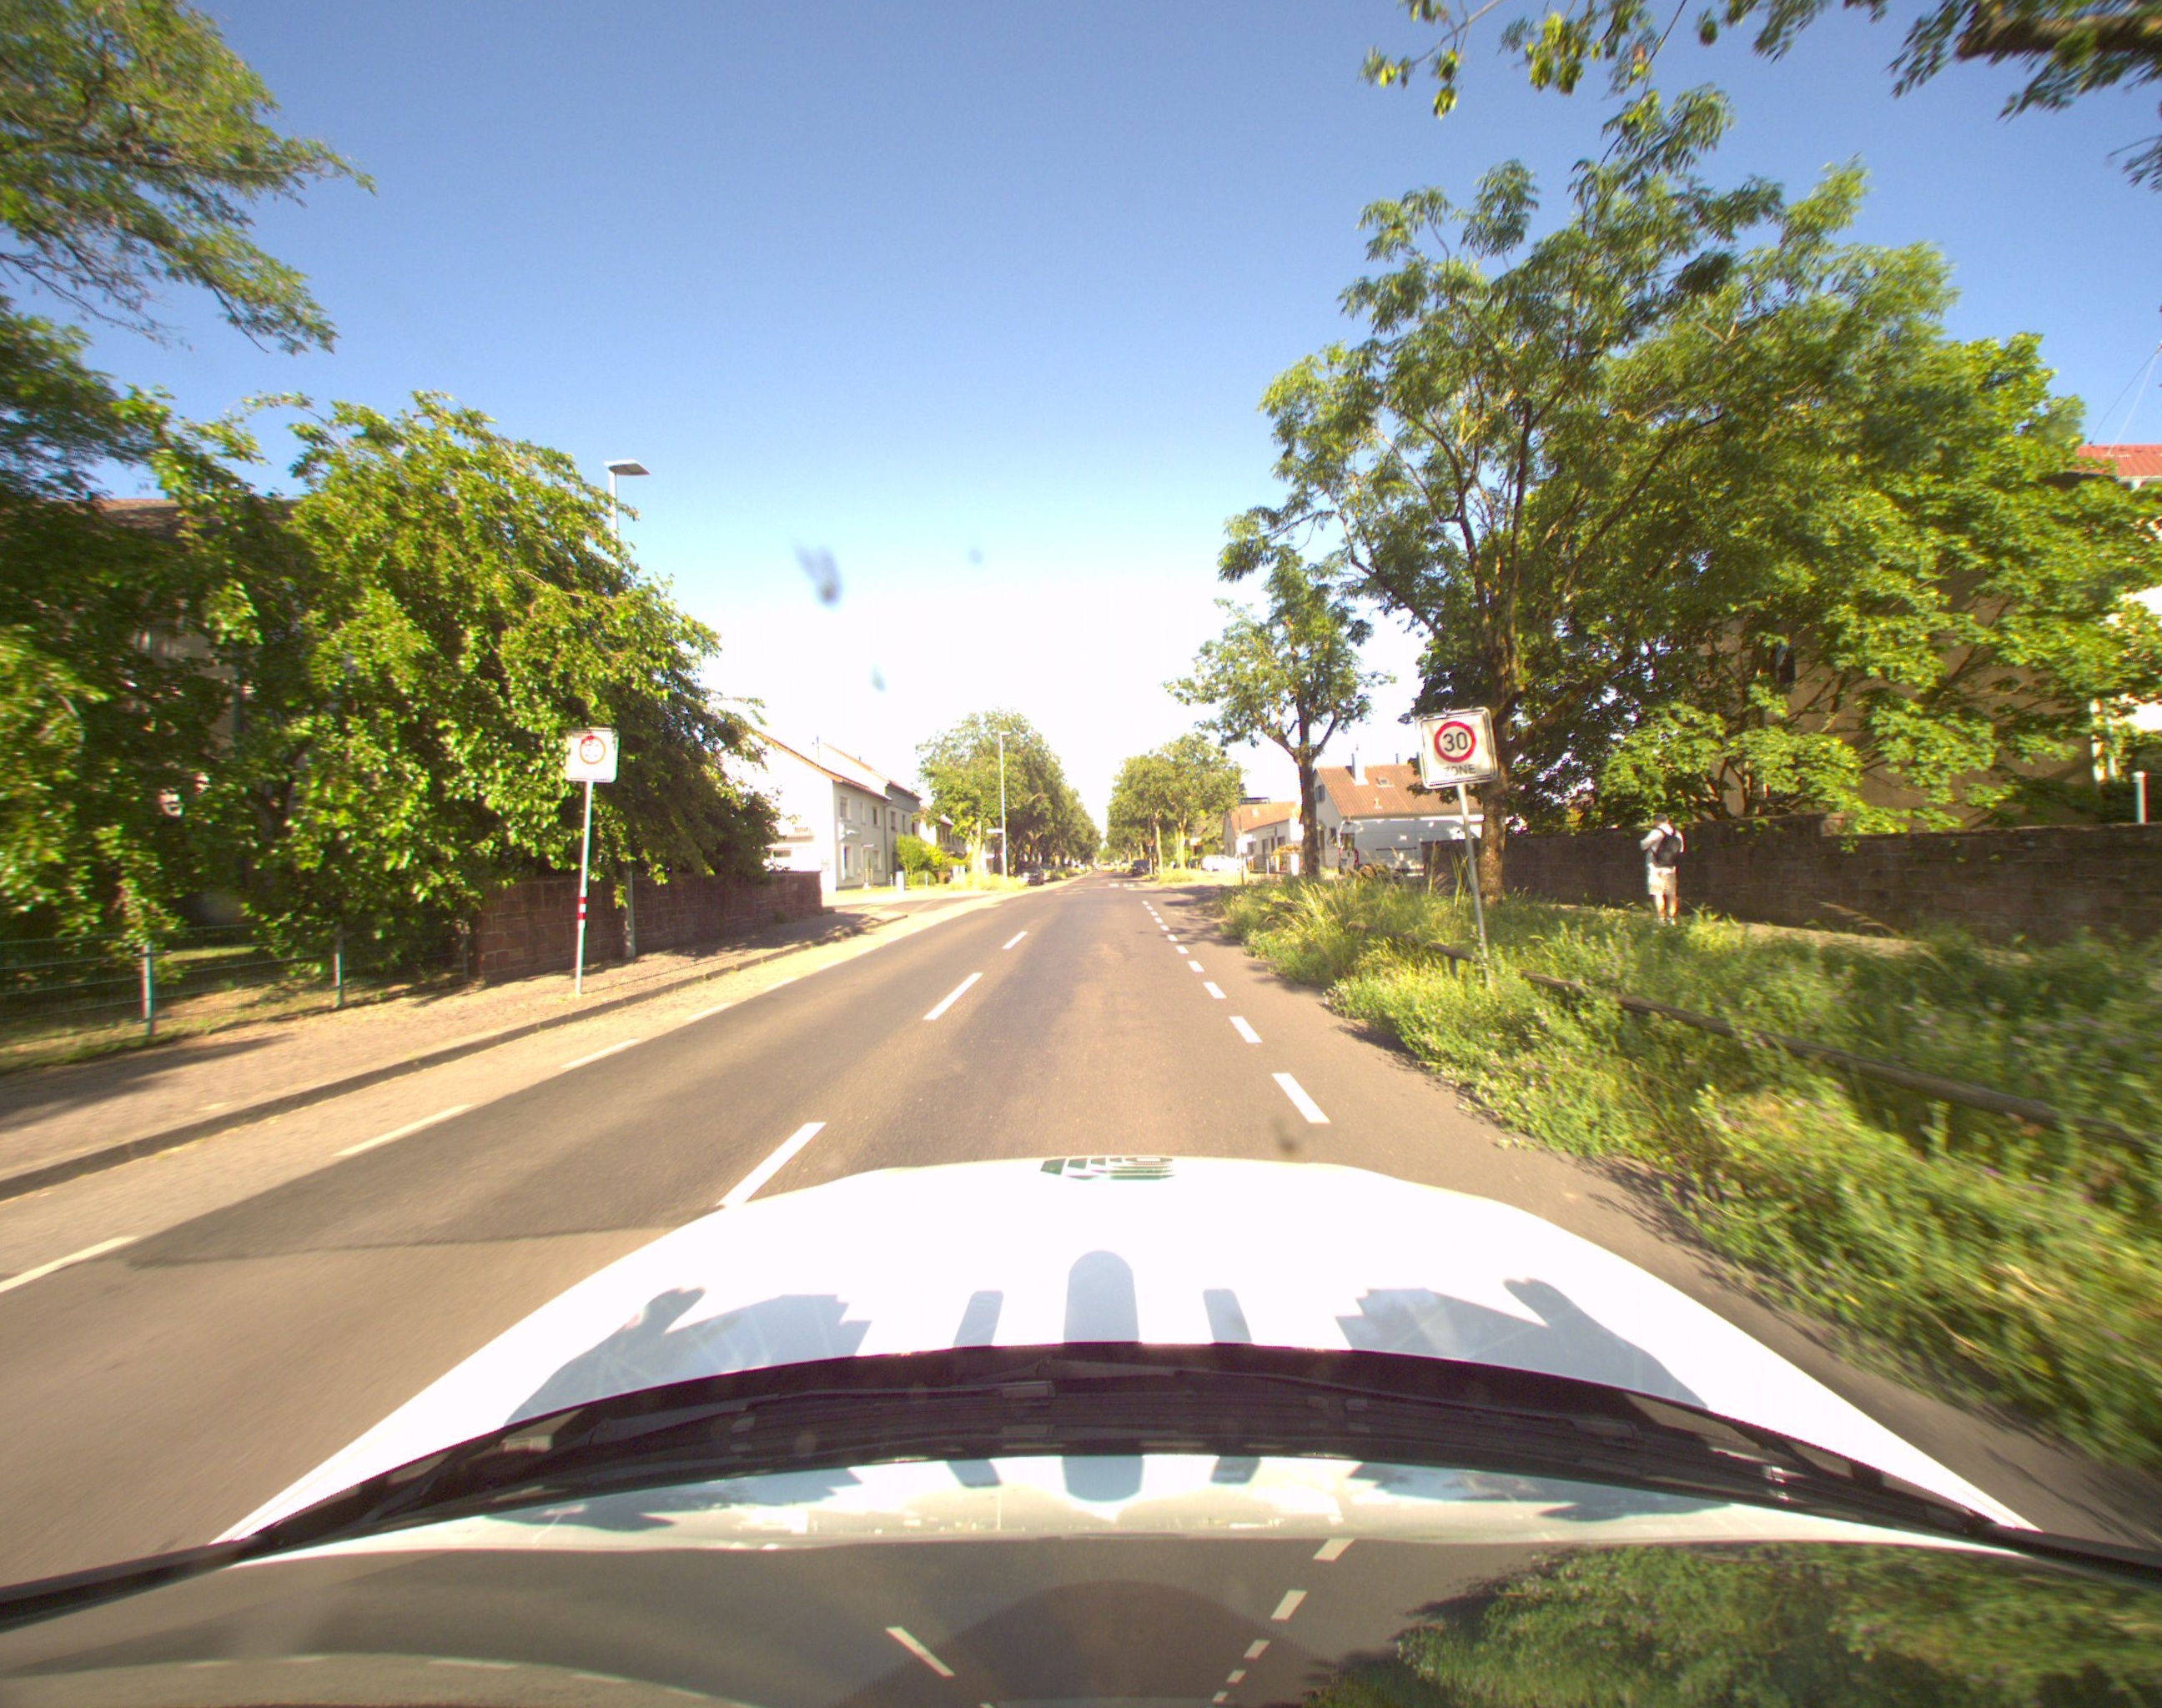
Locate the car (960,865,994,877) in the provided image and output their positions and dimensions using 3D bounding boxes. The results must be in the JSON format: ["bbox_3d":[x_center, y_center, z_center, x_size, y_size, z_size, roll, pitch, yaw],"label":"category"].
[{"bbox_3d":[-14.849,2.452,116.474,4.543,1.618,1.998,-1,1,-3],"label":"car"}]

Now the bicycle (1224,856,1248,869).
[{"bbox_3d":[13.534,0.769,71.225,1.951,0.998,0.576,-4,1,0],"label":"bicycle"}]

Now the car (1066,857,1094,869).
[{"bbox_3d":[-0.177,1.794,165.043,5.481,2.247,2.516,-1,1,0],"label":"car"}]

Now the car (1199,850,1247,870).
[{"bbox_3d":[12.898,0.511,74.302,3.974,1.488,1.902,-4,1,0],"label":"car"}]

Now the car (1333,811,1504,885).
[{"bbox_3d":[12.932,-0.228,31.481,5.578,2.539,2.265,-3,0,-1],"label":"car"}]

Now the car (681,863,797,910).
[{"bbox_3d":[-15.910,1.495,38.066,4.477,1.837,1.999,-3,2,-2],"label":"car"}]

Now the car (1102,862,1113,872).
[{"bbox_3d":[4.408,2.166,135.819,1.882,1.479,3.887,0,-1,0],"label":"car"}]

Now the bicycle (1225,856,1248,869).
[{"bbox_3d":[13.761,0.744,72.214,1.917,0.998,0.576,-4,1,0],"label":"bicycle"}]

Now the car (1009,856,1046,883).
[{"bbox_3d":[-3.580,1.095,55.392,1.945,1.727,4.878,-1,-2,3],"label":"car"}]

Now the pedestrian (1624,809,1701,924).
[{"bbox_3d":[9.054,0.186,12.704,0.635,1.705,0.612,-5,0,0],"label":"pedestrian"}]

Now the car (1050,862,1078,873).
[{"bbox_3d":[-2.900,2.276,137.095,4.536,1.765,1.998,-1,1,-3],"label":"car"}]

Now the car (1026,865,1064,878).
[{"bbox_3d":[-4.376,2.159,99.650,4.538,1.511,1.842,-1,1,1],"label":"car"}]

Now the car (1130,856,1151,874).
[{"bbox_3d":[5.970,1.136,82.666,1.846,1.626,4.470,-4,-1,1],"label":"car"}]

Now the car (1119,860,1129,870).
[{"bbox_3d":[8.160,2.160,155.795,1.895,1.774,4.303,-1,-1,2],"label":"car"}]

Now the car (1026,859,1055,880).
[{"bbox_3d":[-3.314,1.304,67.092,1.931,1.609,4.386,-1,-2,3],"label":"car"}]
